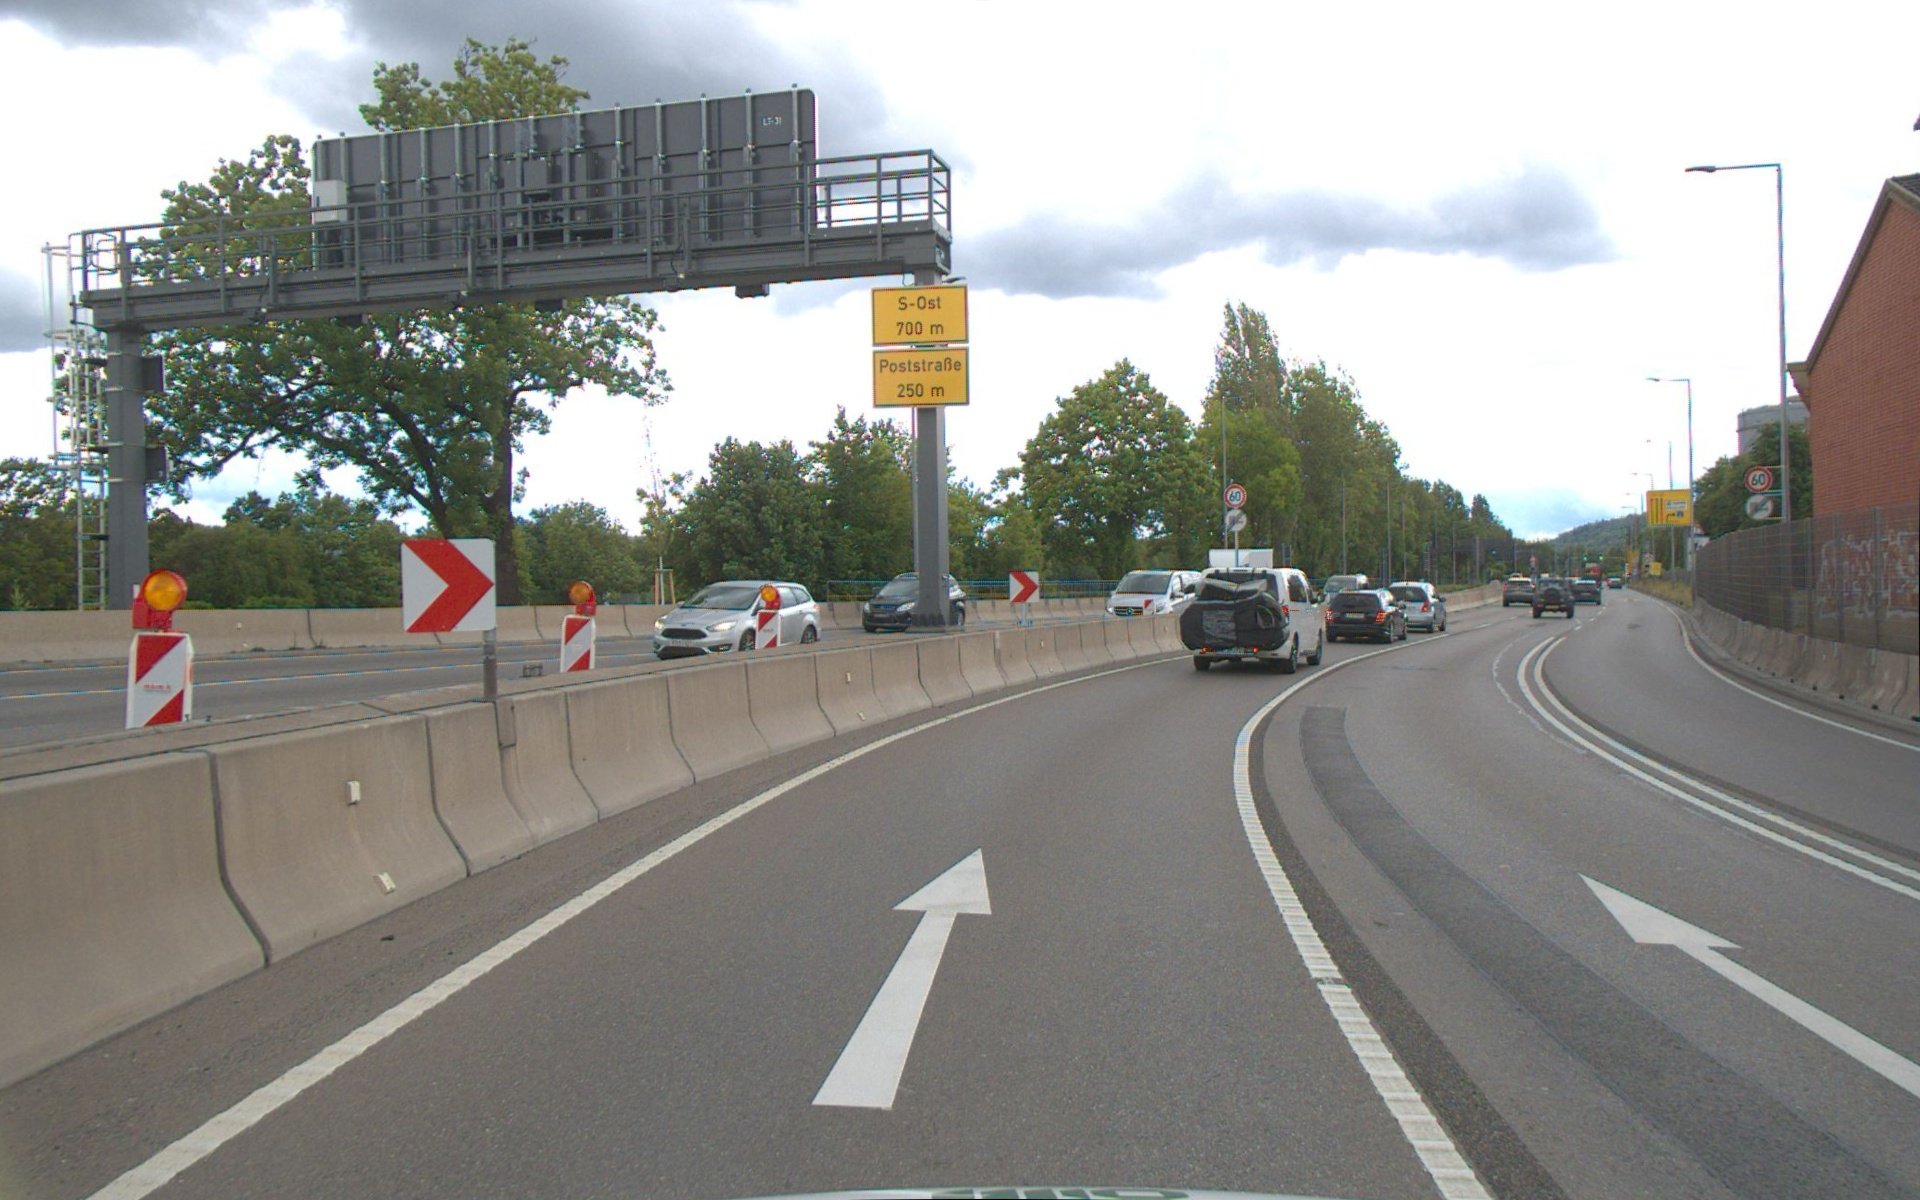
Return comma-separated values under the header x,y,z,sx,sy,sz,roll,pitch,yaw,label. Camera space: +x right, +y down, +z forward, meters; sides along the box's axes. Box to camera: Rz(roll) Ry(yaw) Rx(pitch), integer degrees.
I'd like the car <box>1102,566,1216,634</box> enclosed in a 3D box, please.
x,y,z,sx,sy,sz,roll,pitch,yaw,label
5.917,-0.027,48.468,1.911,1.838,5.792,1,1,21,car

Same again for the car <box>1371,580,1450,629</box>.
x,y,z,sx,sy,sz,roll,pitch,yaw,label
14.599,0.113,53.485,1.882,1.515,4.064,0,1,24,car

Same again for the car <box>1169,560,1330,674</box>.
x,y,z,sx,sy,sz,roll,pitch,yaw,label
5.533,0.267,30.967,1.952,1.891,5.642,2,1,20,car

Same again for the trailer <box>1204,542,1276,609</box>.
x,y,z,sx,sy,sz,roll,pitch,yaw,label
13.925,-1.193,81.908,2.226,3.192,5.709,1,1,23,trailer

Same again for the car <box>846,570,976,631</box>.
x,y,z,sx,sy,sz,roll,pitch,yaw,label
-1.381,-0.004,48.877,1.954,1.701,4.725,1,1,25,car

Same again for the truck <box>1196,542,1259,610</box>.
x,y,z,sx,sy,sz,roll,pitch,yaw,label
12.858,-1.146,79.386,2.227,3.168,2.986,1,0,24,truck

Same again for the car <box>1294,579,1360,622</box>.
x,y,z,sx,sy,sz,roll,pitch,yaw,label
16.590,0.022,74.620,1.864,1.837,4.951,1,0,25,car

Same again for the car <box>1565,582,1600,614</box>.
x,y,z,sx,sy,sz,roll,pitch,yaw,label
38.184,-0.118,101.485,1.952,1.937,4.001,-1,0,20,car

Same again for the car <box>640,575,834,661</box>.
x,y,z,sx,sy,sz,roll,pitch,yaw,label
-4.057,0.291,30.946,1.756,1.446,4.652,1,1,18,car

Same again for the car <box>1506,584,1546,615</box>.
x,y,z,sx,sy,sz,roll,pitch,yaw,label
32.421,-0.045,94.737,1.953,1.702,4.000,1,0,22,car

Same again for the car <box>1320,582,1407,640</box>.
x,y,z,sx,sy,sz,roll,pitch,yaw,label
11.016,0.271,45.021,1.777,1.459,4.066,-2,0,21,car

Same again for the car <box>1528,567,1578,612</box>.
x,y,z,sx,sy,sz,roll,pitch,yaw,label
25.969,-0.438,72.518,1.952,1.892,4.001,-1,0,19,car
